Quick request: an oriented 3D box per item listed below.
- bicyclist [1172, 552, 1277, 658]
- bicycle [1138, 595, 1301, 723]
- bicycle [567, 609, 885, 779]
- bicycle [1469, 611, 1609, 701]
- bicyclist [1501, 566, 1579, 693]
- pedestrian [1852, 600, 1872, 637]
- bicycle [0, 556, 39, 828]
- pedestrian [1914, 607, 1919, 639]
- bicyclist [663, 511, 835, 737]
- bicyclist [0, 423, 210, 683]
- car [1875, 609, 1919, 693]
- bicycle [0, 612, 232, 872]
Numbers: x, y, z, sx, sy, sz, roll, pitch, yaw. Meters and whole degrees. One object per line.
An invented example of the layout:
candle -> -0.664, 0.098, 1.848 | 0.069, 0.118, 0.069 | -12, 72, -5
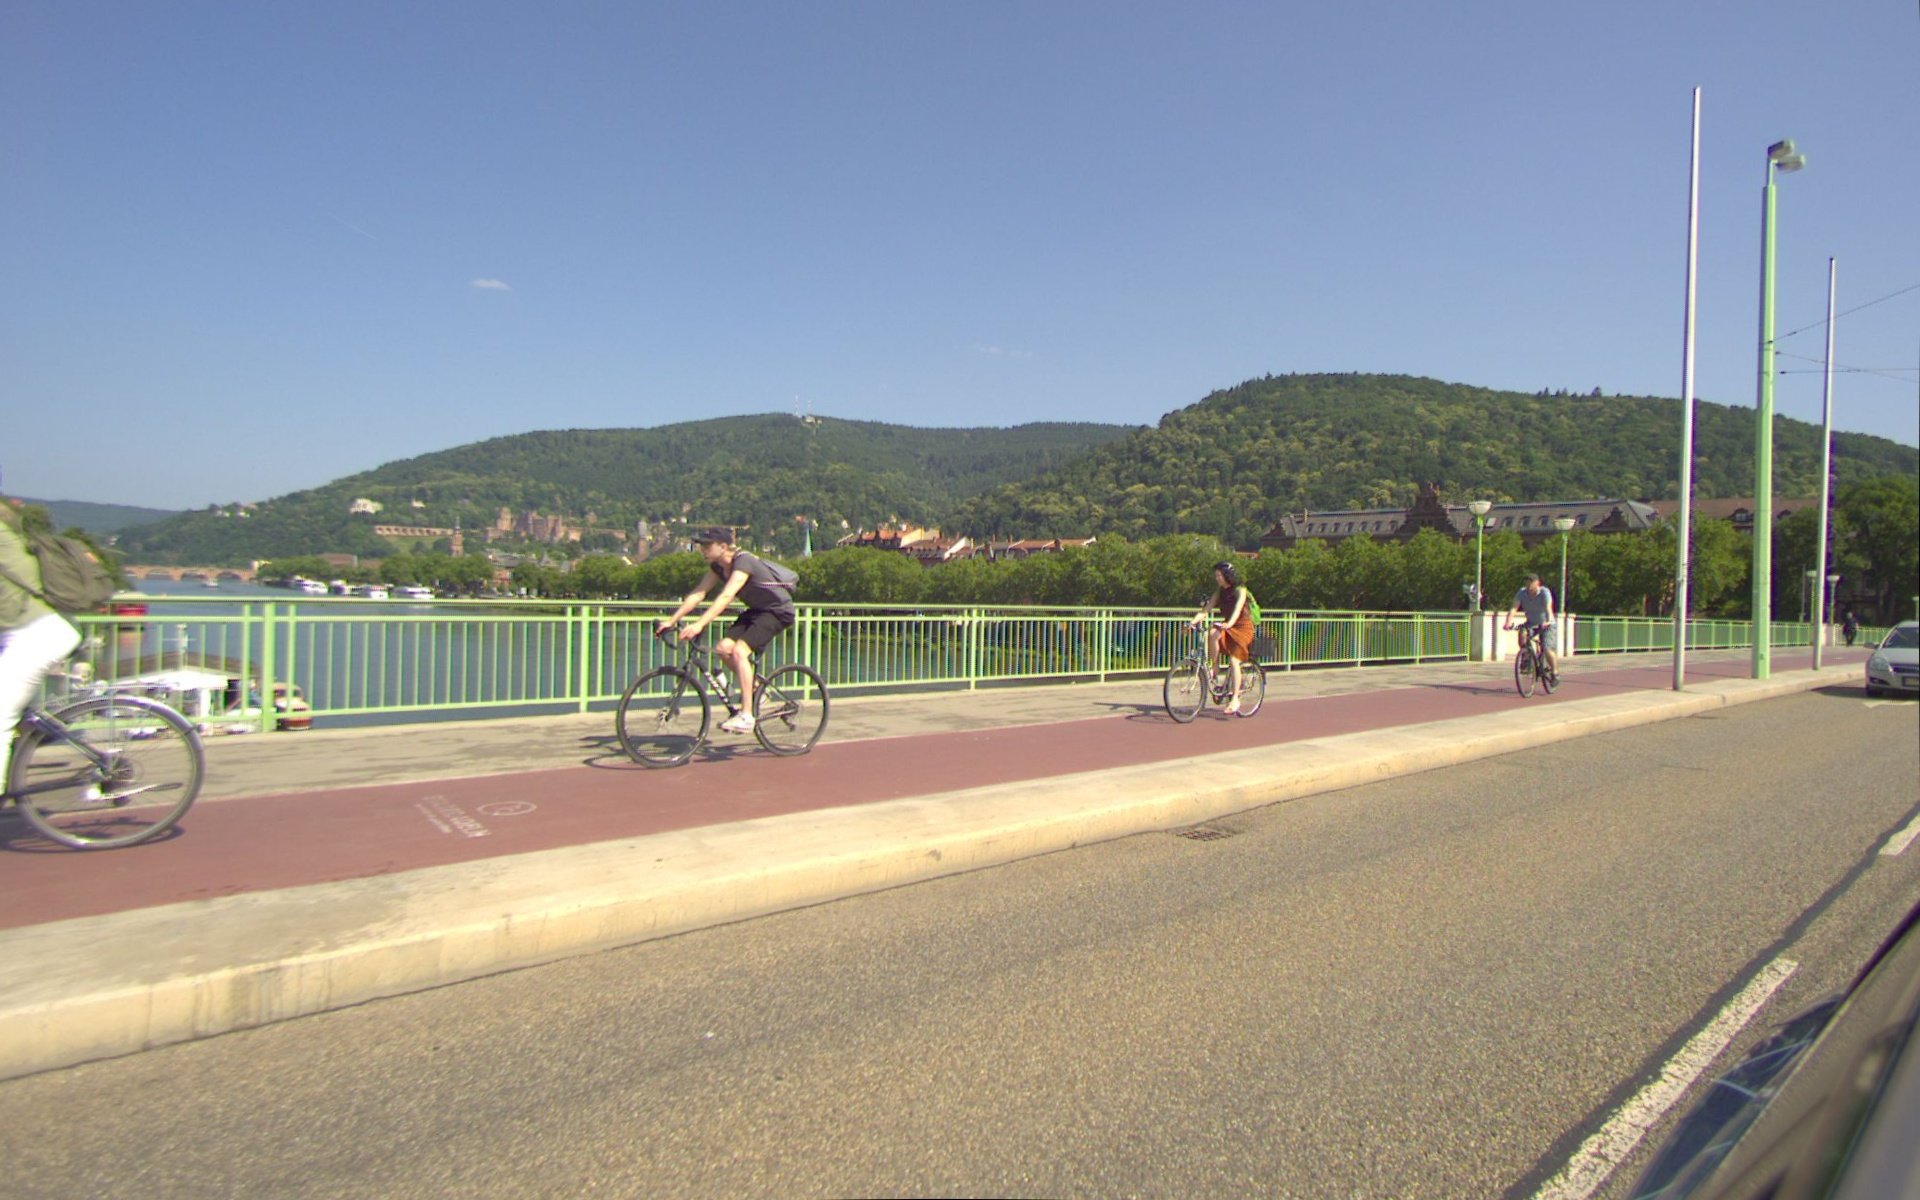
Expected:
bicyclist -> 2.797, 0.051, 10.680 | 0.667, 1.058, 0.964 | 1, 0, 45
bicycle -> 2.783, 0.575, 10.703 | 2.045, 1.208, 0.695 | 1, 1, -45
bicycle -> -1.623, 0.612, 7.371 | 2.227, 1.050, 0.619 | 1, 0, -42
bicycle -> 8.503, 0.747, 14.735 | 3.683, 1.109, 0.793 | 1, 3, -45
bicyclist -> 8.471, 0.403, 14.763 | 1.131, 1.765, 0.673 | 1, 1, -45
pedestrian -> 44.527, 0.903, 49.950 | 0.655, 1.766, 0.962 | 1, -2, 44
bicycle -> -5.456, 0.411, 4.347 | 2.178, 1.287, 0.619 | 1, 0, -42
pedestrian -> 60.634, 1.464, 63.659 | 0.874, 2.039, 1.042 | 1, 0, 44
bicyclist -> -1.541, 0.157, 7.402 | 0.963, 1.519, 0.736 | 2, 0, -42
bicyclist -> -4.033, -0.196, 4.403 | 1.155, 1.043, 0.736 | 1, 0, -42
car -> 19.327, 0.998, 19.707 | 4.419, 1.520, 1.800 | 2, -1, -42
bicycle -> -4.330, 0.583, 4.231 | 2.016, 1.050, 0.619 | 1, 0, -42
